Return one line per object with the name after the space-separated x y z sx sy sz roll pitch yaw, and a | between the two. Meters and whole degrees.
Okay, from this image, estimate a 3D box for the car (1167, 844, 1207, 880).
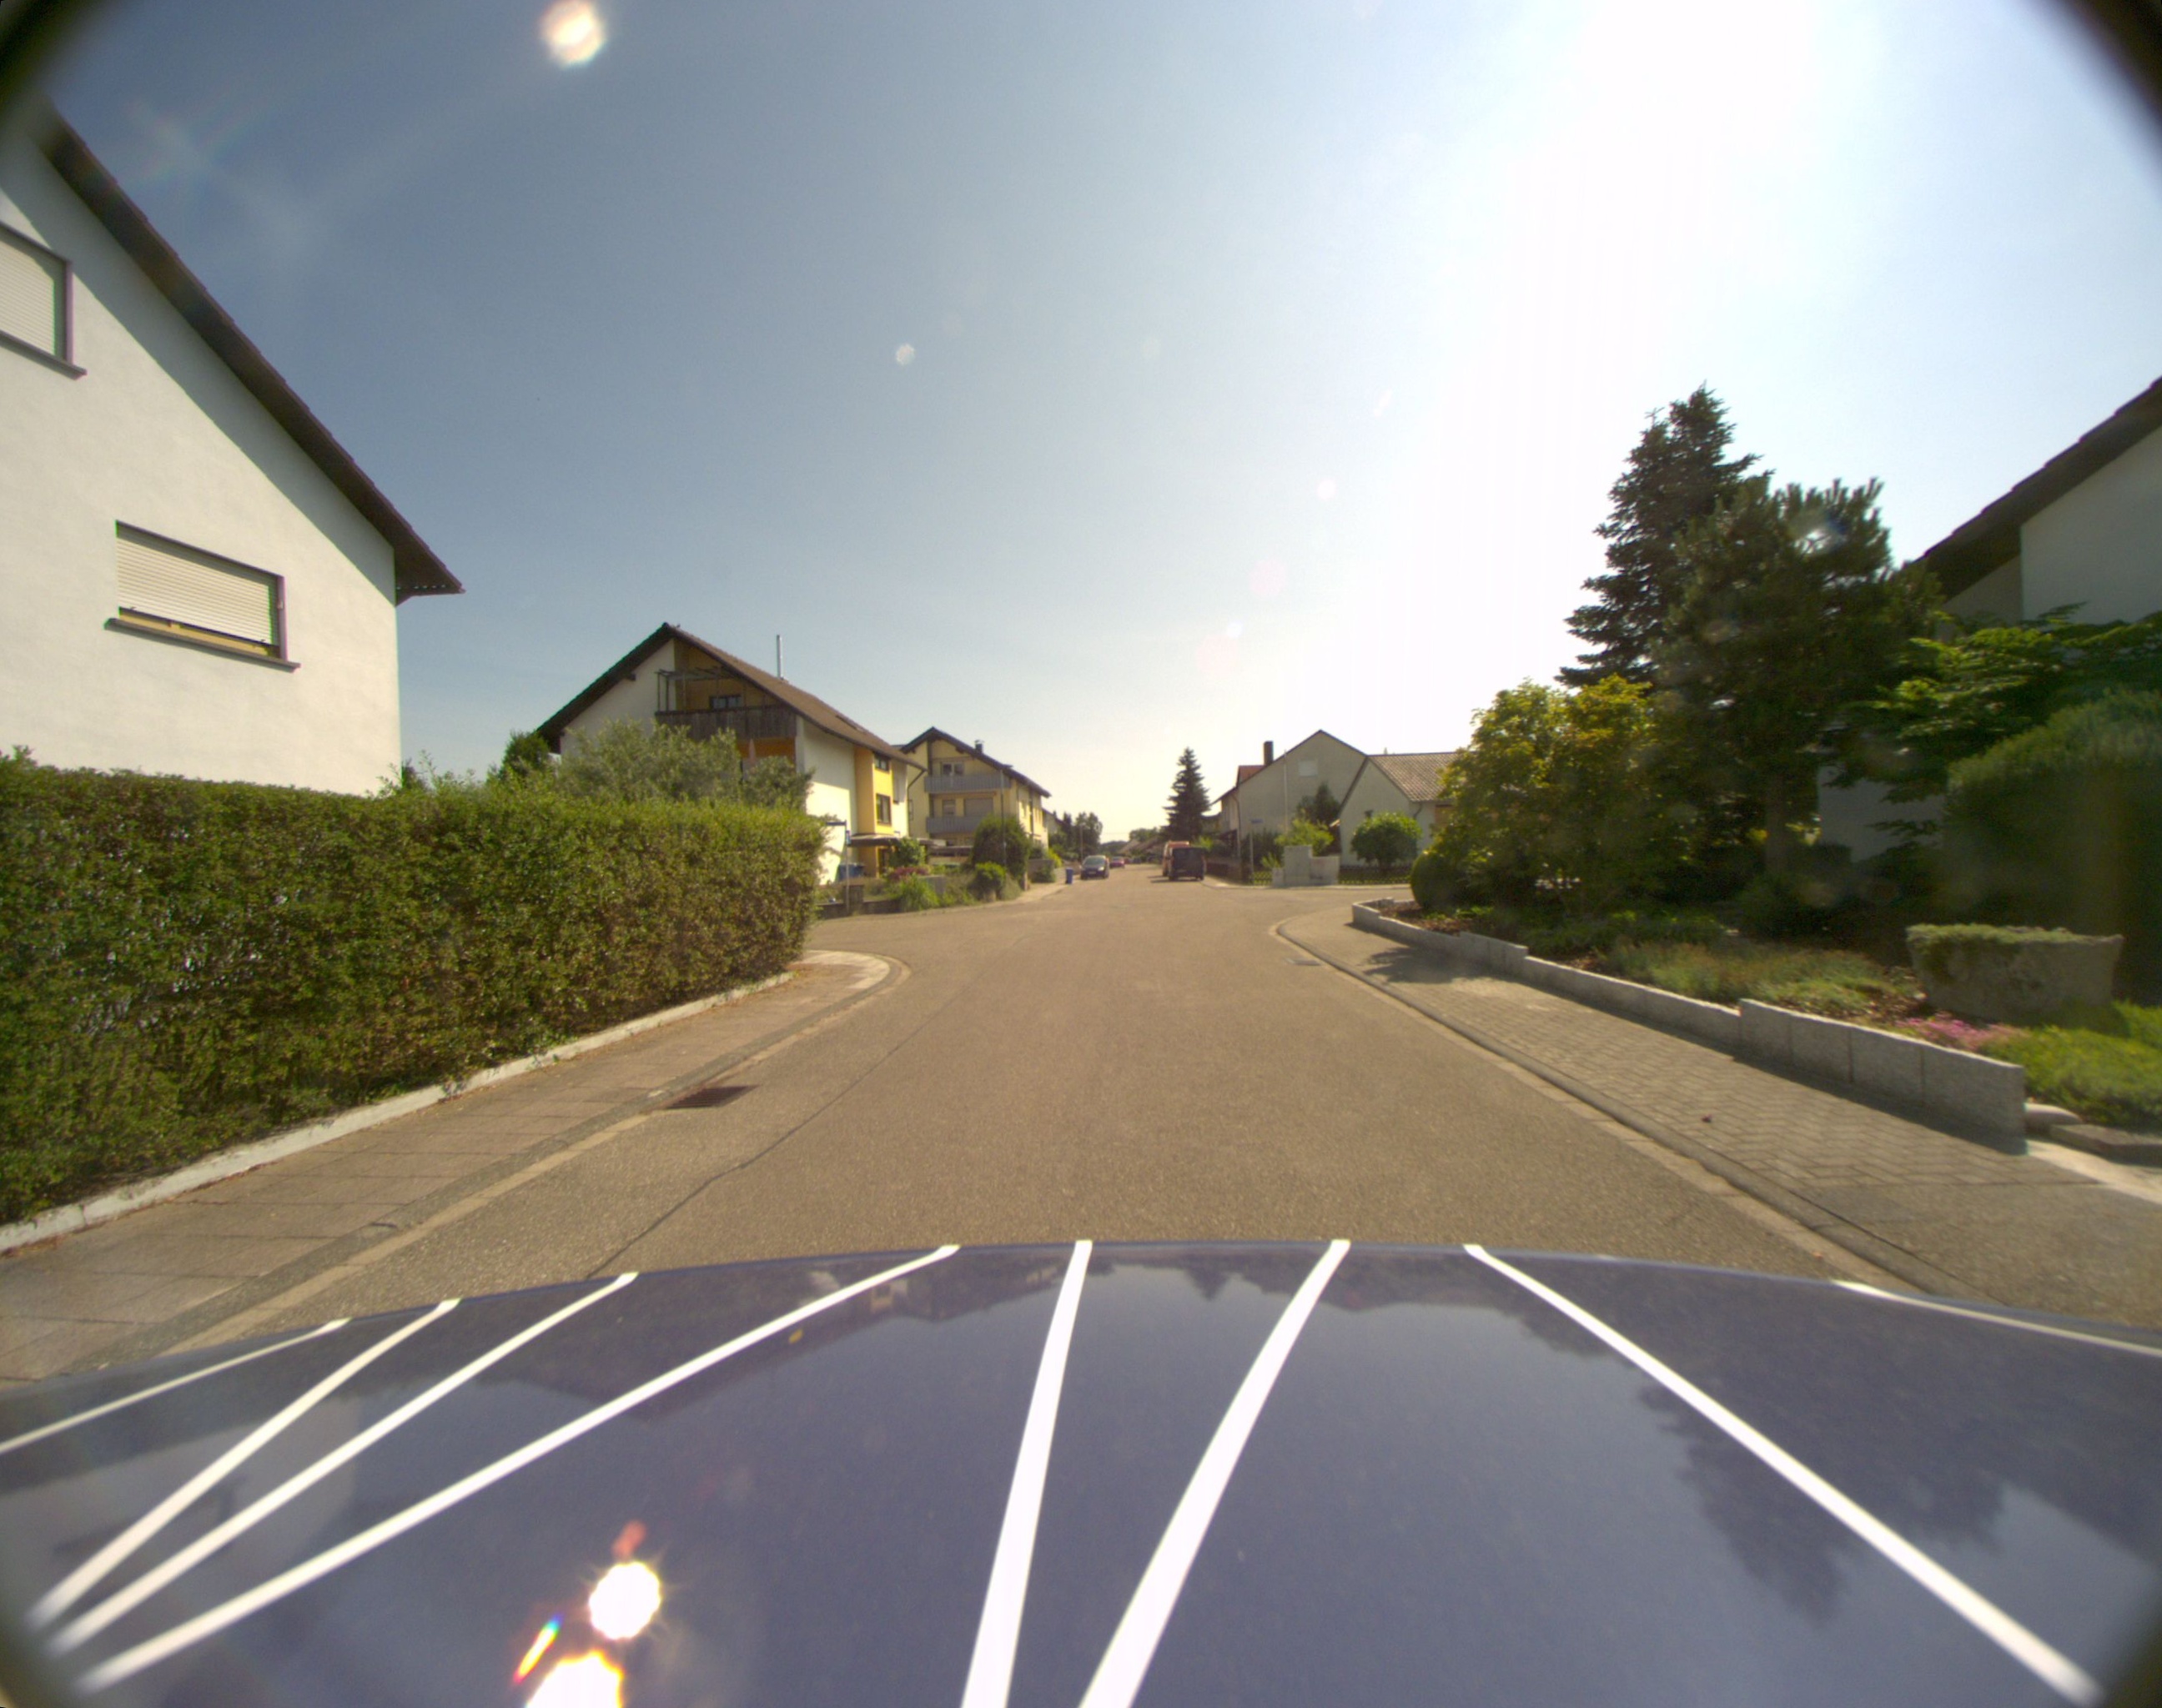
6.149 0.455 44.423 1.869 1.927 4.205 -3 0 3 | car

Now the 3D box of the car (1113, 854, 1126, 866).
4.831 0.805 96.564 1.517 1.398 3.678 -3 -1 2 | car

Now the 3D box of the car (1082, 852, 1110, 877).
1.119 0.747 54.539 1.631 1.616 4.002 -3 0 6 | car

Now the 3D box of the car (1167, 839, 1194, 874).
7.010 0.165 53.792 1.555 2.310 4.205 -3 0 3 | car

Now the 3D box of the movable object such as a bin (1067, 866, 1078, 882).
-0.520 1.174 45.091 0.584 0.911 0.598 -3 0 3 | movable object such as a bin

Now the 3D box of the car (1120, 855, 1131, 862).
9.421 0.967 160.430 1.709 1.332 4.000 -3 -1 -4 | car

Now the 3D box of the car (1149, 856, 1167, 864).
15.847 1.170 156.710 3.413 1.521 1.638 -3 0 -2 | car

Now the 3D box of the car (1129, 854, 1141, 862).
10.526 0.726 147.705 1.709 1.332 4.000 -3 -1 -4 | car
